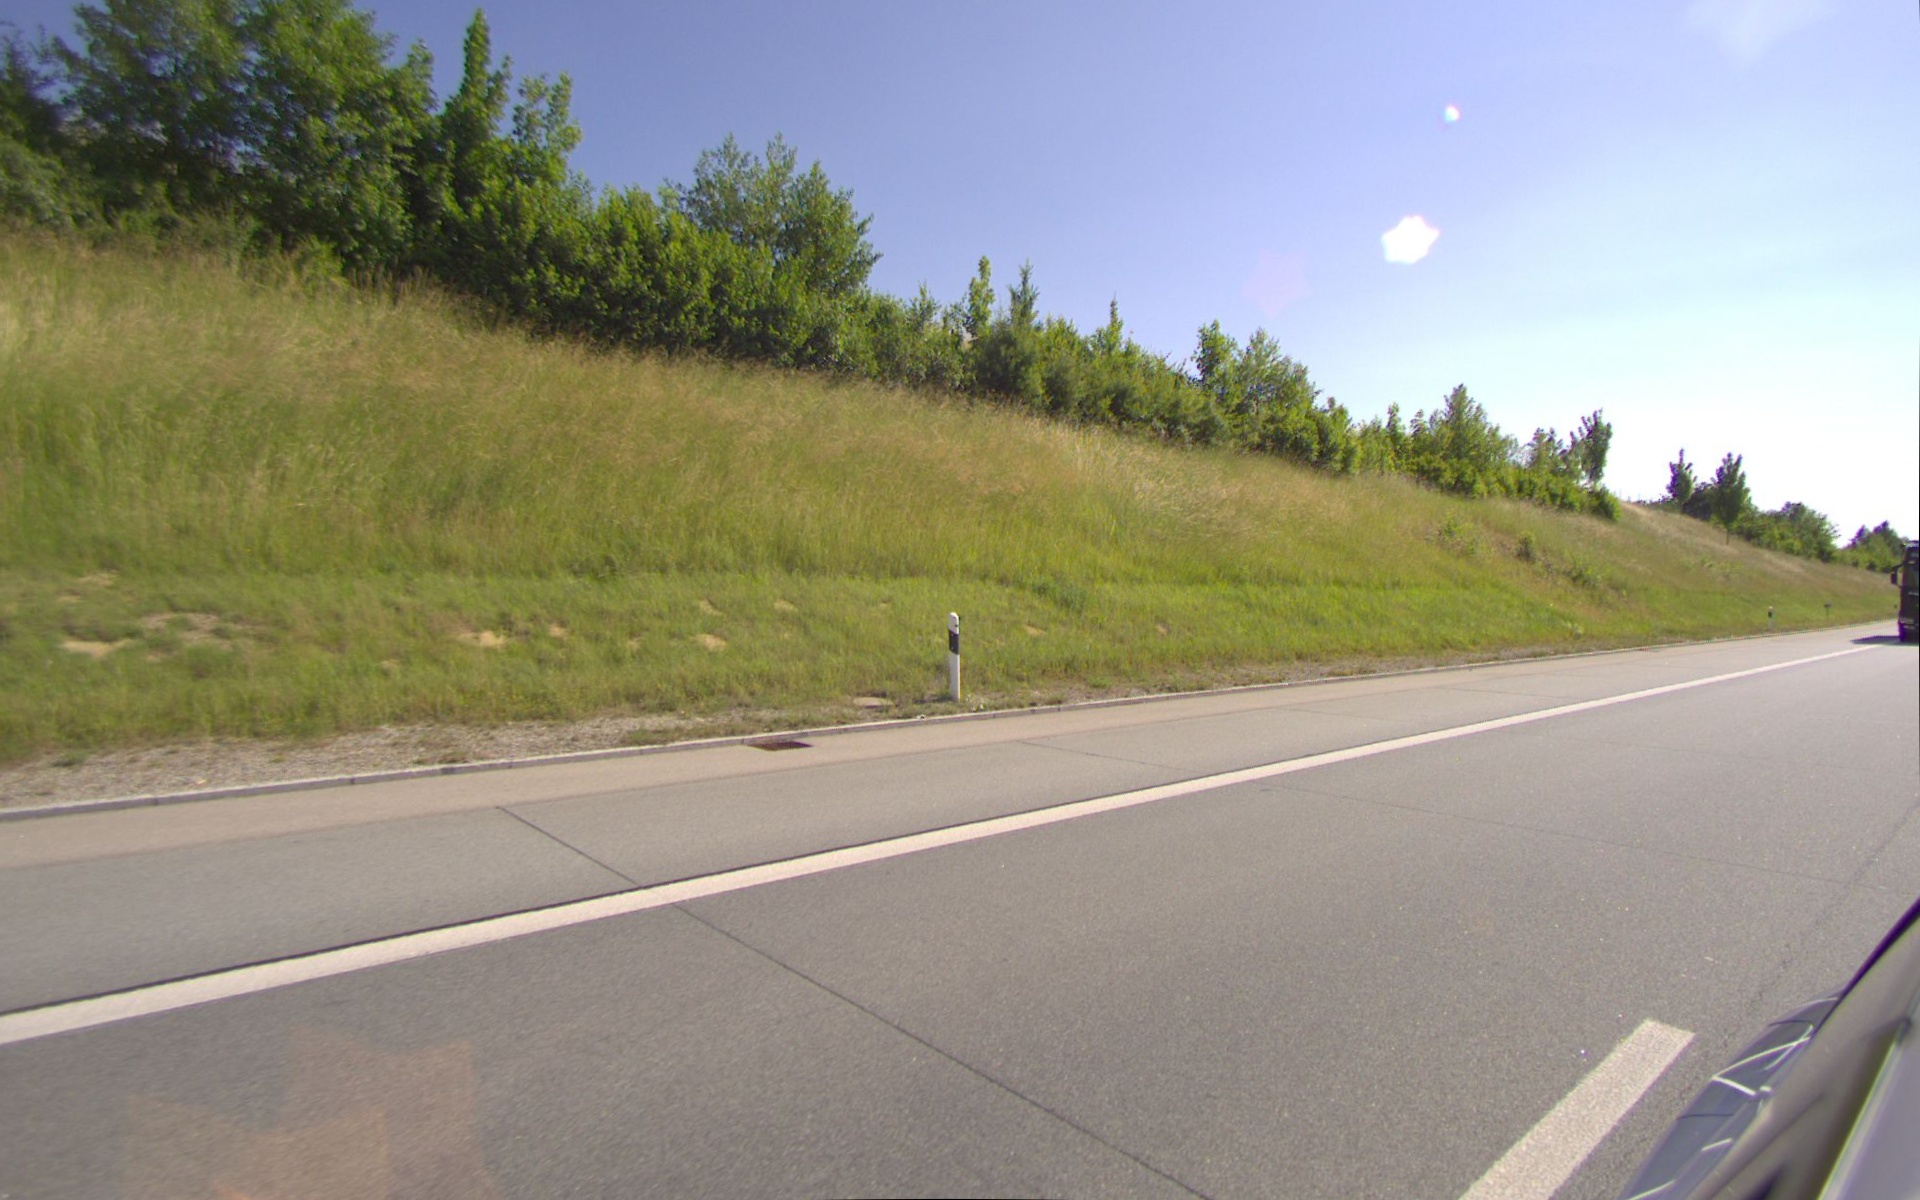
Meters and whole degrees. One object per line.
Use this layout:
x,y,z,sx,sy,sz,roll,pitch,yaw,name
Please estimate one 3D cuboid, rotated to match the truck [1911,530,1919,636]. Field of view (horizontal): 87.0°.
40.711,-0.606,40.274,13.164,3.866,2.622,0,0,-40,truck
